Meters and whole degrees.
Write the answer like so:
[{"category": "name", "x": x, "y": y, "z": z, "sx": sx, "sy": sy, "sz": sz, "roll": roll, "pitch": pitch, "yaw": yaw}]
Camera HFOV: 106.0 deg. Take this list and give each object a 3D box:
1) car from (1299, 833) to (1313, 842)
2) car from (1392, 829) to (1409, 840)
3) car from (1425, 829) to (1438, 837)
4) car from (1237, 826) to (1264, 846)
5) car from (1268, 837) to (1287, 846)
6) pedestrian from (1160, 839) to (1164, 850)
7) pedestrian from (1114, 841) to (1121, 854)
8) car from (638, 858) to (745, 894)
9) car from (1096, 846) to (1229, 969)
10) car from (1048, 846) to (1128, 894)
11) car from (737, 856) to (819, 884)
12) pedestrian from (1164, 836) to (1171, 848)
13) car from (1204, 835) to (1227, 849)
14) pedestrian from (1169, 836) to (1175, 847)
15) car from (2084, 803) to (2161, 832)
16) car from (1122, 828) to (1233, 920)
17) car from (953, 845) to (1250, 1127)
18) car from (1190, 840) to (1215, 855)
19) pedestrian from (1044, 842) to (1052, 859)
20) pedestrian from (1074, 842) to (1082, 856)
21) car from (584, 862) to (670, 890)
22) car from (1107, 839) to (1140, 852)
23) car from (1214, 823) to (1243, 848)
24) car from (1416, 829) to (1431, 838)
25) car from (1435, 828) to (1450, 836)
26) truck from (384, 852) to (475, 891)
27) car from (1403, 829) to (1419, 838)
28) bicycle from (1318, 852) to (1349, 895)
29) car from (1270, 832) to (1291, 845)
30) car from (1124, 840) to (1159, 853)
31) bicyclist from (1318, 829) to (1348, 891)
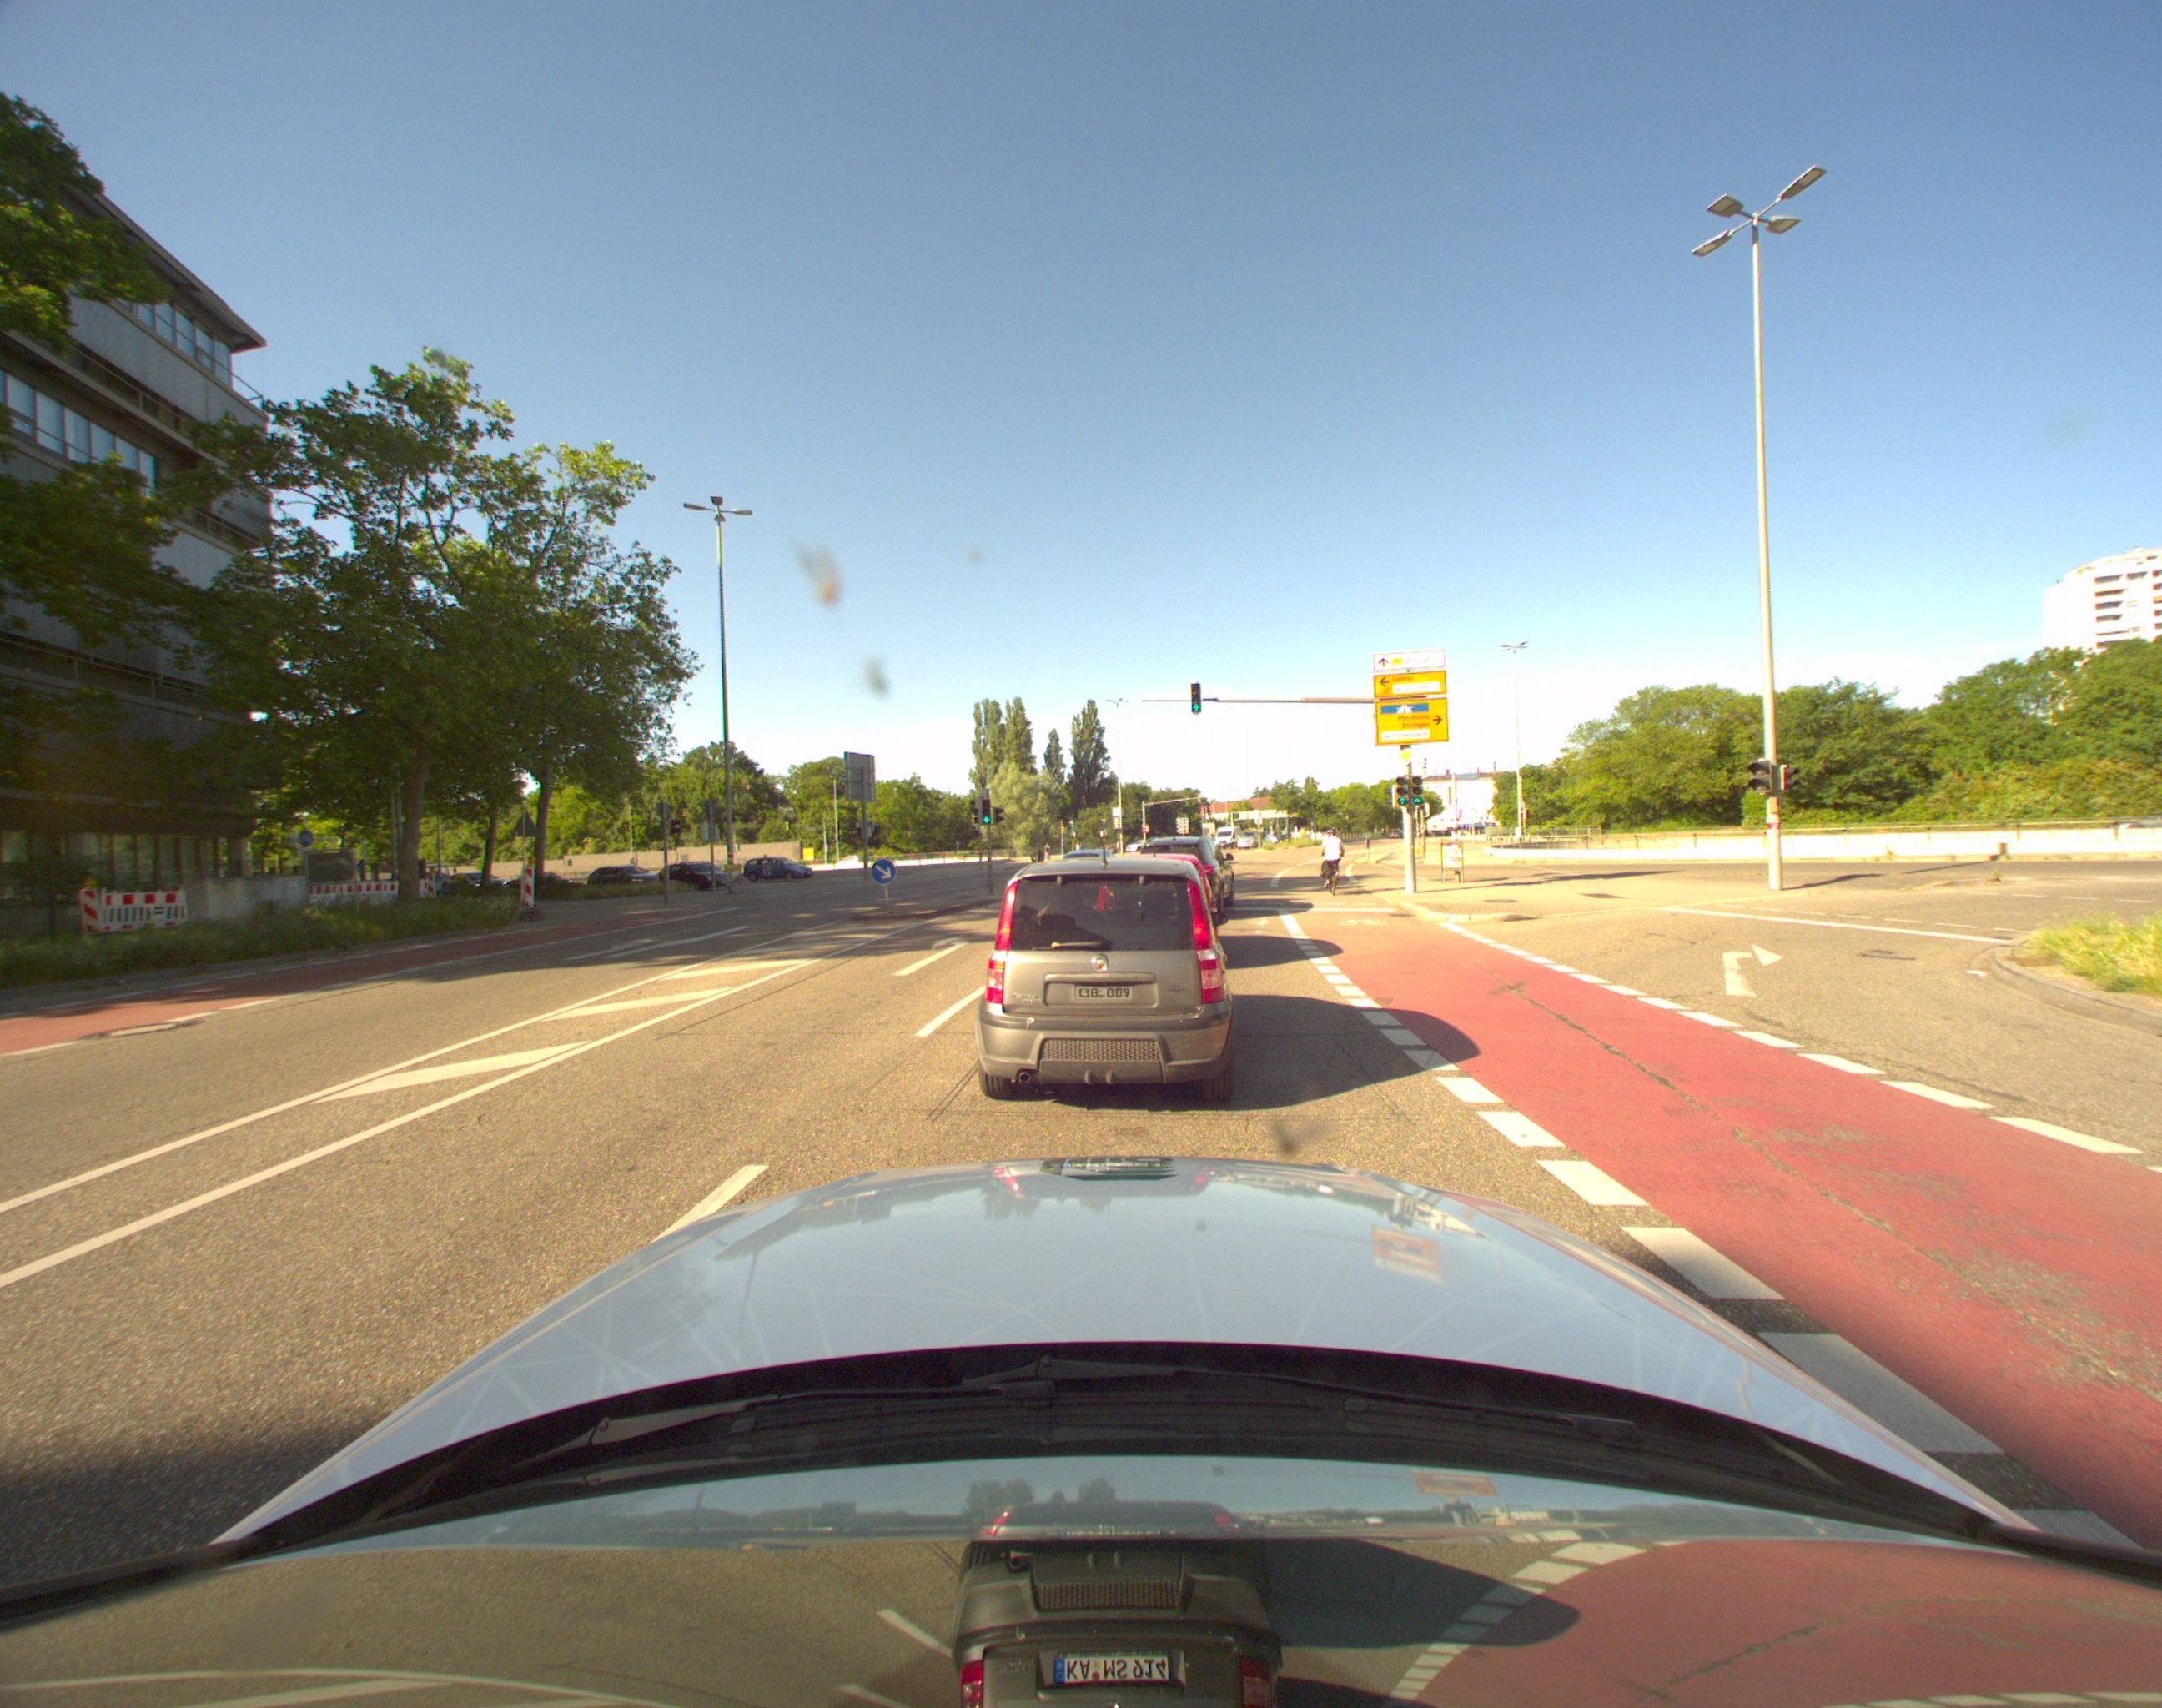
[{"category": "car", "x": 48.525, "y": -3.639, "z": 175.580, "sx": 1.974, "sy": 1.816, "sz": 4.025, "roll": -1, "pitch": -1, "yaw": 31}, {"category": "car", "x": 50.021, "y": -3.083, "z": 127.527, "sx": 1.926, "sy": 1.528, "sz": 4.123, "roll": -2, "pitch": 1, "yaw": 30}, {"category": "car", "x": 70.073, "y": -4.139, "z": 162.859, "sx": 1.926, "sy": 1.528, "sz": 4.123, "roll": -2, "pitch": 1, "yaw": 30}, {"category": "car", "x": 18.070, "y": -1.924, "z": 86.537, "sx": 1.920, "sy": 2.008, "sz": 4.958, "roll": -2, "pitch": 1, "yaw": 22}, {"category": "car", "x": 34.327, "y": -2.171, "z": 142.280, "sx": 1.974, "sy": 1.448, "sz": 4.025, "roll": -1, "pitch": -1, "yaw": 32}, {"category": "pedestrian", "x": 12.237, "y": -1.427, "z": 122.951, "sx": 0.494, "sy": 1.701, "sz": 0.503, "roll": -1, "pitch": -1, "yaw": 26}, {"category": "pedestrian", "x": 4.250, "y": -0.743, "z": 94.523, "sx": 0.557, "sy": 1.547, "sz": 0.573, "roll": -3, "pitch": -1, "yaw": -14}, {"category": "car", "x": -19.656, "y": 1.094, "z": 41.160, "sx": 4.731, "sy": 1.621, "sz": 1.961, "roll": -2, "pitch": 1, "yaw": 18}, {"category": "car", "x": 1.258, "y": 0.661, "z": 12.102, "sx": 1.609, "sy": 1.463, "sz": 3.759, "roll": -2, "pitch": 1, "yaw": 7}, {"category": "car", "x": 0.322, "y": 0.494, "z": 27.905, "sx": 1.768, "sy": 1.415, "sz": 4.335, "roll": -1, "pitch": 1, "yaw": 13}, {"category": "car", "x": -18.898, "y": 0.973, "z": 50.913, "sx": 4.410, "sy": 1.540, "sz": 1.960, "roll": -2, "pitch": 1, "yaw": 15}, {"category": "pedestrian", "x": 12.977, "y": -1.801, "z": 122.355, "sx": 0.782, "sy": 1.664, "sz": 0.633, "roll": -1, "pitch": -1, "yaw": 42}, {"category": "car", "x": 16.215, "y": -1.456, "z": 98.166, "sx": 1.795, "sy": 1.541, "sz": 4.641, "roll": -3, "pitch": 1, "yaw": 21}, {"category": "pedestrian", "x": 14.184, "y": -1.923, "z": 126.601, "sx": 0.713, "sy": 1.641, "sz": 0.676, "roll": -1, "pitch": -1, "yaw": 27}, {"category": "car", "x": 61.945, "y": -2.174, "z": 47.381, "sx": 4.190, "sy": 1.552, "sz": 1.873, "roll": -2, "pitch": 1, "yaw": 38}, {"category": "car", "x": 2.342, "y": 0.367, "z": 18.745, "sx": 1.931, "sy": 1.840, "sz": 4.169, "roll": -2, "pitch": 1, "yaw": 15}, {"category": "car", "x": 0.340, "y": 0.735, "z": 6.453, "sx": 1.609, "sy": 1.515, "sz": 3.828, "roll": -2, "pitch": 1, "yaw": 7}, {"category": "car", "x": 13.714, "y": -0.769, "z": 91.617, "sx": 1.920, "sy": 1.507, "sz": 4.020, "roll": -3, "pitch": 1, "yaw": 19}, {"category": "pedestrian", "x": -3.035, "y": -0.335, "z": 75.086, "sx": 0.678, "sy": 1.463, "sz": 0.702, "roll": -2, "pitch": 1, "yaw": -5}, {"category": "pedestrian", "x": -0.307, "y": -0.571, "z": 93.981, "sx": 0.710, "sy": 1.547, "sz": 0.725, "roll": -3, "pitch": -1, "yaw": -14}, {"category": "car", "x": -24.921, "y": 1.224, "z": 44.671, "sx": 4.452, "sy": 1.358, "sz": 1.892, "roll": -2, "pitch": 1, "yaw": 27}, {"category": "car", "x": 5.535, "y": -1.041, "z": 105.018, "sx": 4.018, "sy": 1.625, "sz": 1.880, "roll": 0, "pitch": -1, "yaw": -37}, {"category": "car", "x": 16.451, "y": -2.078, "z": 90.568, "sx": 1.920, "sy": 2.576, "sz": 6.122, "roll": -2, "pitch": 1, "yaw": 22}, {"category": "car", "x": 63.588, "y": -3.812, "z": 151.116, "sx": 1.926, "sy": 1.528, "sz": 4.123, "roll": -2, "pitch": 1, "yaw": 30}, {"category": "car", "x": 81.219, "y": -4.934, "z": 183.014, "sx": 1.926, "sy": 1.528, "sz": 4.124, "roll": -2, "pitch": 1, "yaw": 39}, {"category": "truck", "x": -43.593, "y": 1.187, "z": 54.431, "sx": 7.418, "sy": 2.359, "sz": 2.178, "roll": -2, "pitch": 1, "yaw": 30}, {"category": "car", "x": 55.565, "y": -3.477, "z": 137.076, "sx": 1.926, "sy": 1.528, "sz": 4.123, "roll": -2, "pitch": 1, "yaw": 31}, {"category": "bicycle", "x": 6.971, "y": 0.512, "z": 22.550, "sx": 0.686, "sy": 1.102, "sz": 1.833, "roll": -1, "pitch": 1, "yaw": 14}, {"category": "car", "x": 26.429, "y": -2.092, "z": 107.758, "sx": 1.920, "sy": 1.622, "sz": 4.530, "roll": -2, "pitch": 1, "yaw": 22}, {"category": "car", "x": 7.638, "y": -0.948, "z": 101.976, "sx": 4.351, "sy": 1.535, "sz": 1.764, "roll": -3, "pitch": 2, "yaw": -39}, {"category": "bicyclist", "x": 6.969, "y": 0.145, "z": 22.565, "sx": 0.719, "sy": 1.659, "sz": 1.117, "roll": -1, "pitch": 1, "yaw": 14}]
